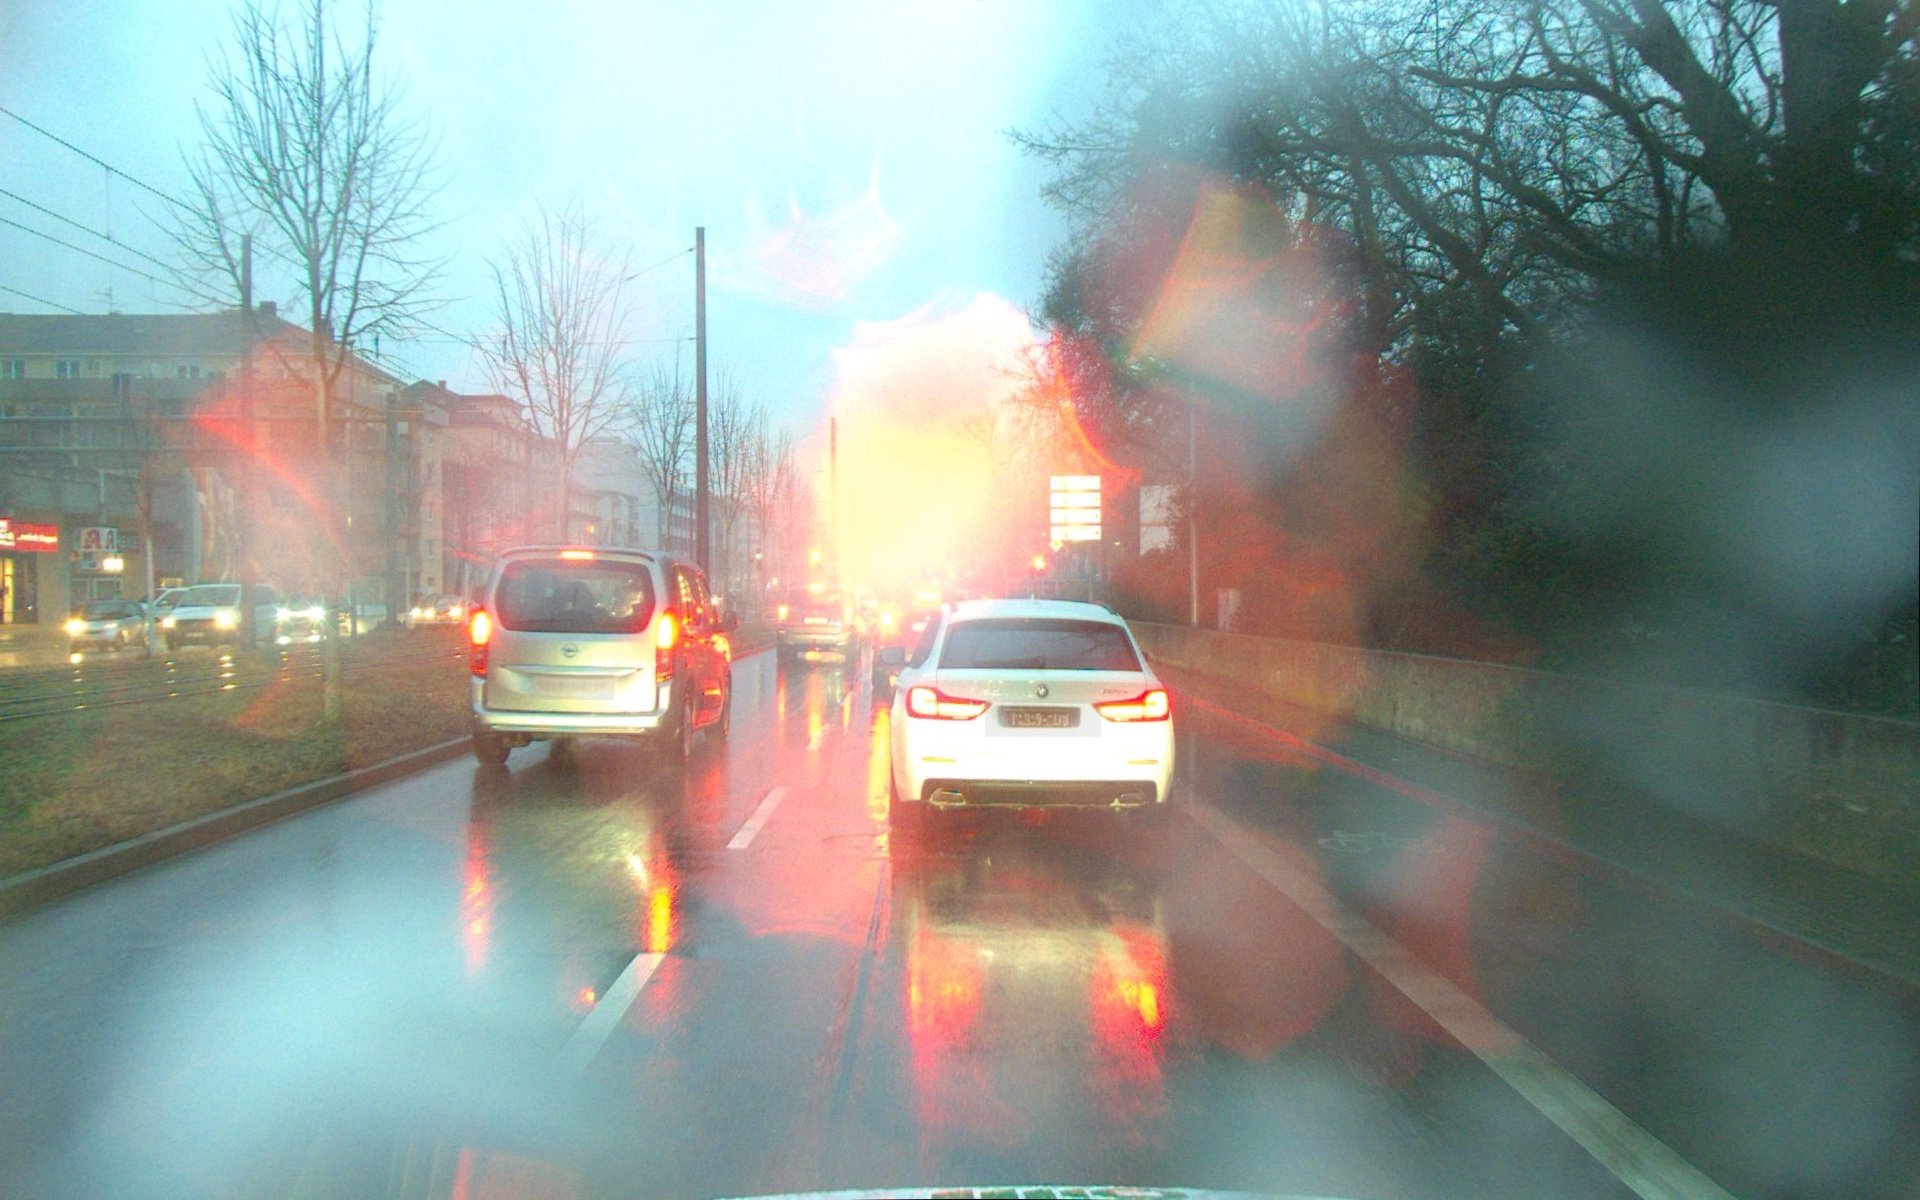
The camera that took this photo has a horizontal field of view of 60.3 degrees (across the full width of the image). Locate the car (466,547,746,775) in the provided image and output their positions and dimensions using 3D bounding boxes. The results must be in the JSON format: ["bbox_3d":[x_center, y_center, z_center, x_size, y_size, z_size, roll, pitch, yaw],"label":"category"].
[{"bbox_3d":[-3.072,0.480,15.272,1.757,1.766,4.535,1,0,-3],"label":"car"}]

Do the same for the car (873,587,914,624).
[{"bbox_3d":[-3.051,0.238,76.451,1.770,1.674,3.999,1,0,-1],"label":"car"}]

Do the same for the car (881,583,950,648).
[{"bbox_3d":[-1.191,0.394,45.274,1.770,1.674,3.999,1,0,-1],"label":"car"}]

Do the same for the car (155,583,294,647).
[{"bbox_3d":[-21.108,0.393,47.719,1.857,1.749,5.116,0,0,-2],"label":"car"}]

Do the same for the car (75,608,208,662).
[{"bbox_3d":[-25.739,1.068,52.212,1.857,1.542,4.791,0,0,-1],"label":"car"}]

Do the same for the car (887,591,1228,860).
[{"bbox_3d":[0.537,0.717,11.628,1.958,1.534,4.163,0,0,-1],"label":"car"}]

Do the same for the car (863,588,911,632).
[{"bbox_3d":[-2.861,0.371,65.518,1.770,1.674,3.999,1,0,-1],"label":"car"}]

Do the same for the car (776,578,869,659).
[{"bbox_3d":[-2.989,0.376,36.661,1.770,1.674,3.999,1,0,-1],"label":"car"}]

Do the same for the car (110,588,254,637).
[{"bbox_3d":[-32.607,0.508,69.428,1.966,1.945,5.129,0,0,43],"label":"car"}]

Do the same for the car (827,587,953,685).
[{"bbox_3d":[-1.092,0.535,27.195,1.896,1.483,4.163,0,0,-1],"label":"car"}]

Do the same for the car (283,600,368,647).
[{"bbox_3d":[-26.495,0.964,69.195,1.857,1.844,4.529,0,0,-1],"label":"car"}]

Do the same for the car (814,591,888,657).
[{"bbox_3d":[-3.111,0.662,47.859,1.953,1.785,3.999,1,0,-2],"label":"car"}]

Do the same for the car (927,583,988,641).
[{"bbox_3d":[-0.107,0.342,50.751,1.770,1.674,3.999,1,0,-1],"label":"car"}]
